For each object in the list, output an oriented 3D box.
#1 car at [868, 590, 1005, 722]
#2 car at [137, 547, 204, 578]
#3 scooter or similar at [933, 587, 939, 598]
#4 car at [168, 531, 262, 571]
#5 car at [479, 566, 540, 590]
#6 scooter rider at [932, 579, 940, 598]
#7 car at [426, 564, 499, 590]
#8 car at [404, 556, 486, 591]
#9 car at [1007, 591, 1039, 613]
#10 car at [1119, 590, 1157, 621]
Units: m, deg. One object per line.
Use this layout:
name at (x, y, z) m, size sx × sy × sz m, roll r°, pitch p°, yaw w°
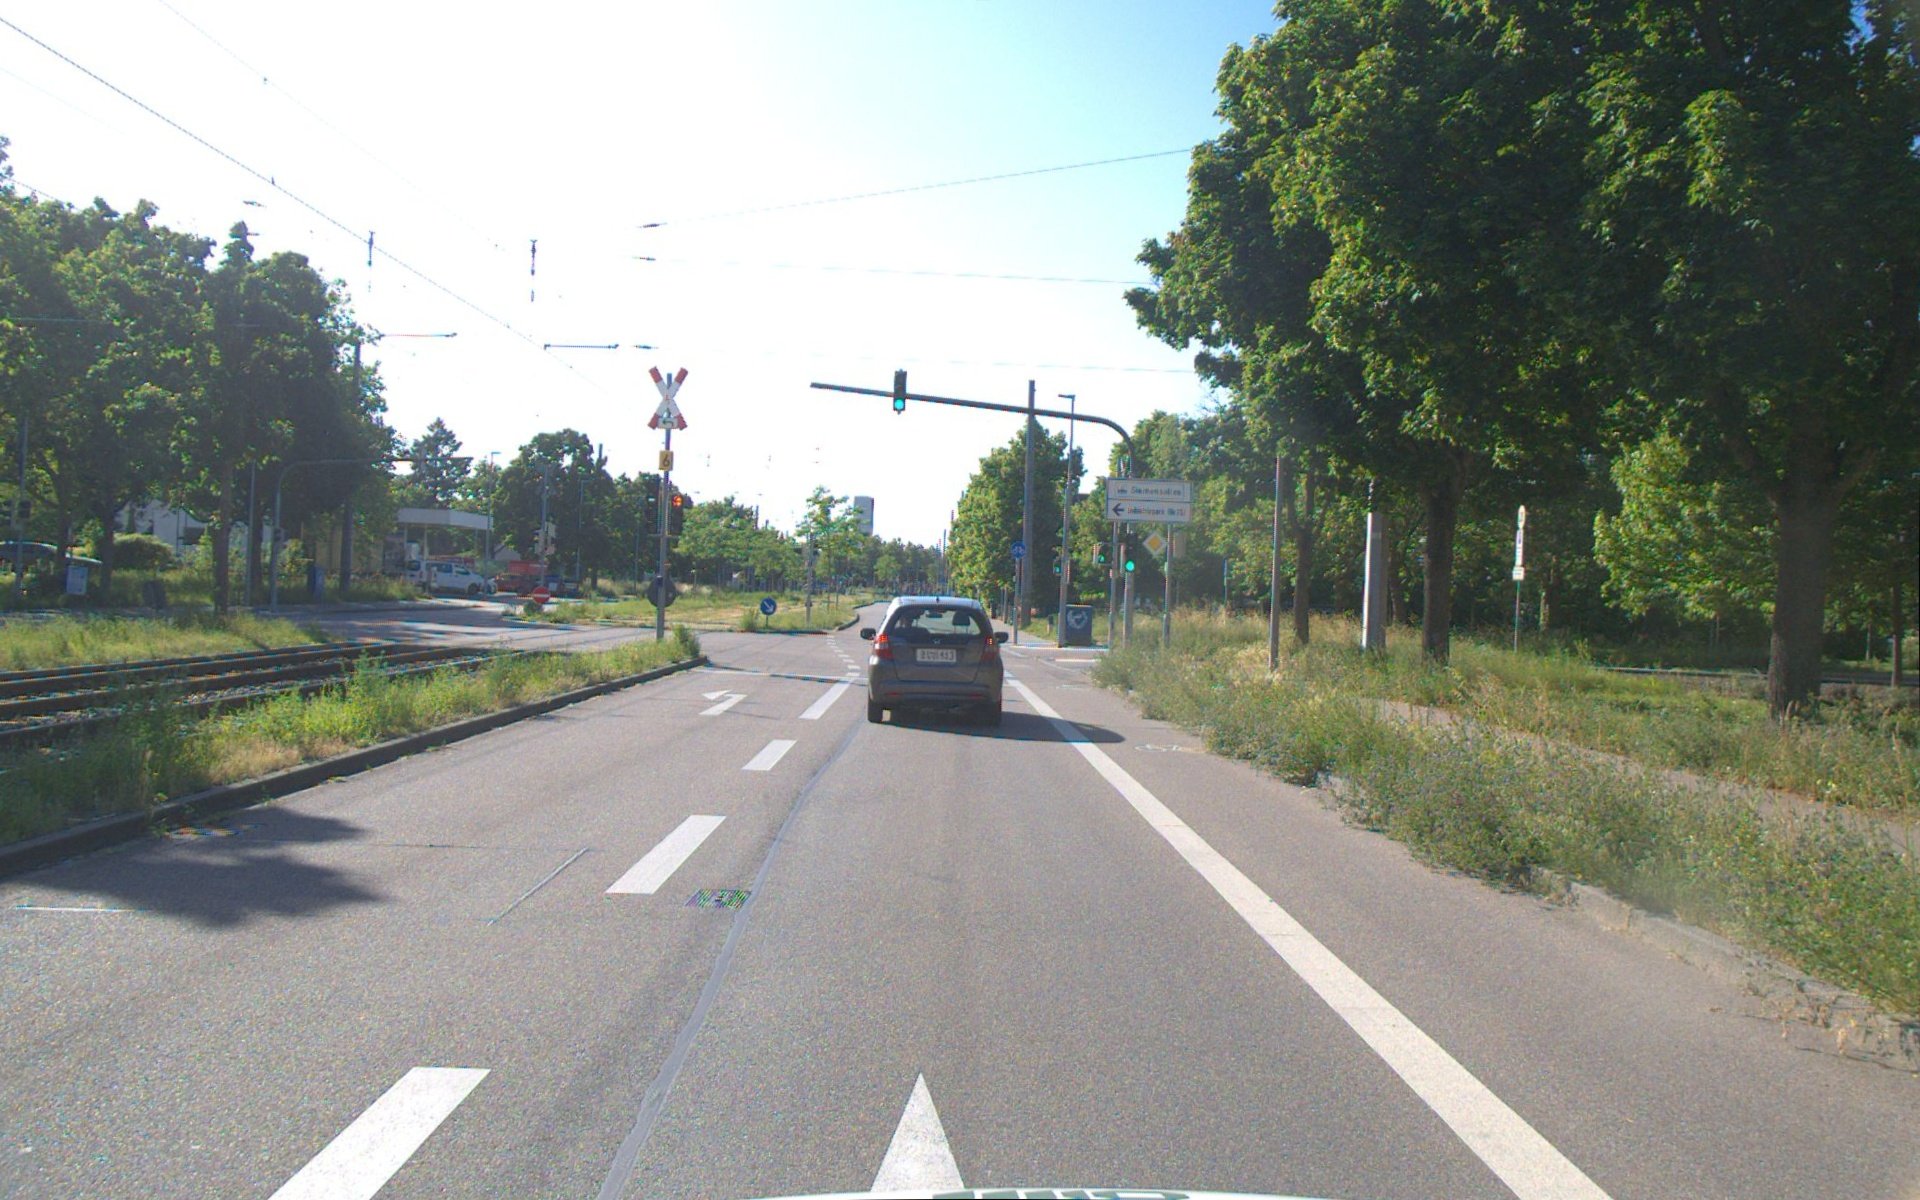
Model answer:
car at (-0.304, 0.647, 21.191) m, size 1.591 × 1.526 × 3.456 m, roll 1°, pitch 0°, yaw -1°
car at (-43.397, -2.061, 91.005) m, size 1.545 × 1.571 × 4.089 m, roll 3°, pitch 0°, yaw 1°
scooter or similar at (-2.528, -0.830, 174.670) m, size 0.528 × 1.138 × 1.416 m, roll 2°, pitch 0°, yaw -4°
car at (-44.459, -2.917, 98.826) m, size 4.628 × 2.128 × 2.020 m, roll 2°, pitch 1°, yaw -4°
car at (-32.847, -1.627, 120.721) m, size 3.991 × 1.595 × 1.791 m, roll 2°, pitch 1°, yaw -5°
scooter rider at (-2.532, -1.241, 174.644) m, size 0.702 × 1.934 × 0.934 m, roll 2°, pitch 0°, yaw -4°
car at (-32.642, -1.499, 108.578) m, size 1.756 × 1.554 × 4.454 m, roll 3°, pitch 1°, yaw 35°
car at (-32.384, -1.654, 104.044) m, size 1.824 × 2.008 × 4.769 m, roll 2°, pitch 1°, yaw 35°
car at (4.363, 0.146, 114.709) m, size 1.739 × 1.411 × 3.866 m, roll 2°, pitch 0°, yaw -5°
car at (12.301, 0.376, 114.679) m, size 1.834 × 2.000 × 5.165 m, roll 3°, pitch 0°, yaw -2°
